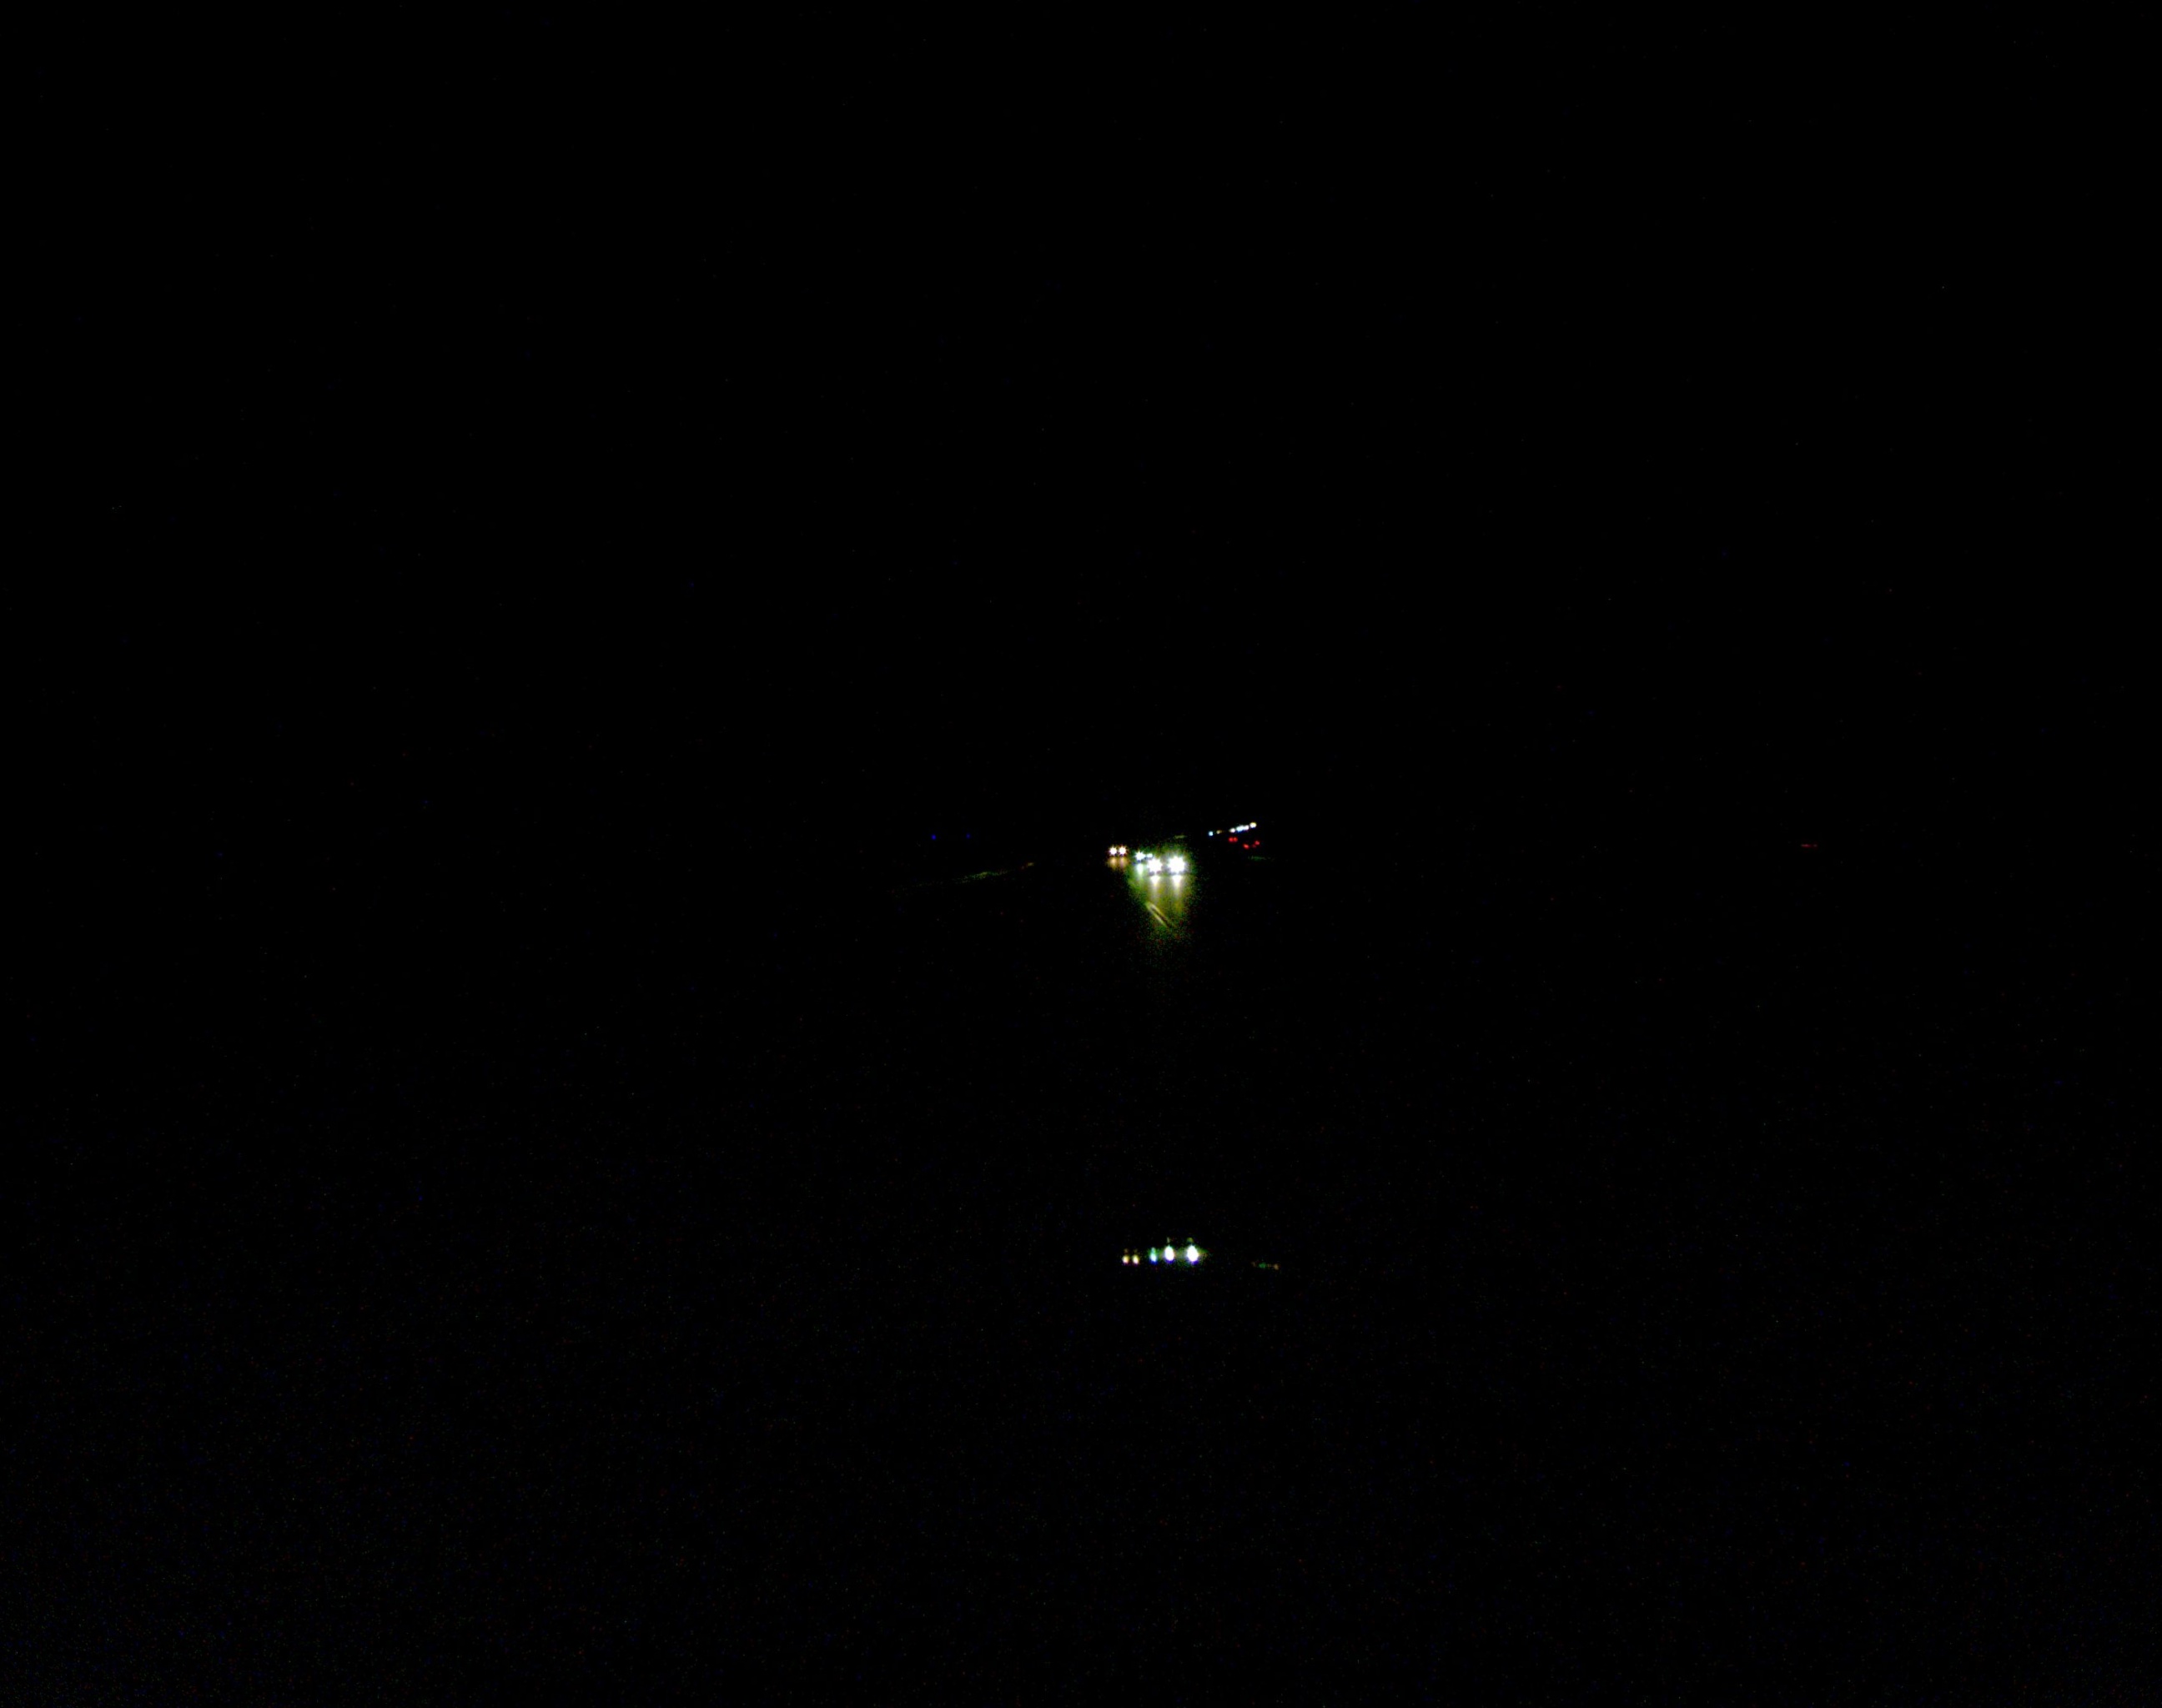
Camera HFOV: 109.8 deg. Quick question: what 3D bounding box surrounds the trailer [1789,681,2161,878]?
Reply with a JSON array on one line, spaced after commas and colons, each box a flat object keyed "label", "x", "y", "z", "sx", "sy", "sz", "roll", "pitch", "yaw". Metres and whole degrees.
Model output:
[{"label": "trailer", "x": 24.171, "y": -1.607, "z": 16.970, "sx": 3.608, "sy": 4.066, "sz": 14.123, "roll": -2, "pitch": 0, "yaw": 1}]

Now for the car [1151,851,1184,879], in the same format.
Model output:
[{"label": "car", "x": 5.210, "y": 0.613, "z": 45.576, "sx": 1.832, "sy": 1.404, "sz": 4.001, "roll": -3, "pitch": 2, "yaw": 8}]

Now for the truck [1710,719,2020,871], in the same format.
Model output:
[{"label": "truck", "x": 24.282, "y": -1.648, "z": 24.116, "sx": 3.599, "sy": 4.075, "sz": 5.994, "roll": -2, "pitch": 0, "yaw": 1}]

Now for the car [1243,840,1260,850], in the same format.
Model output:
[{"label": "car", "x": 27.046, "y": -1.455, "z": 120.770, "sx": 1.998, "sy": 1.499, "sz": 4.001, "roll": -2, "pitch": 1, "yaw": 4}]

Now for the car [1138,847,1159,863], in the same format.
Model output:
[{"label": "car", "x": 7.327, "y": 0.088, "z": 82.942, "sx": 1.998, "sy": 1.456, "sz": 4.000, "roll": -3, "pitch": 1, "yaw": 3}]

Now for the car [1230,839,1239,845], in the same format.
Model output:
[{"label": "car", "x": 46.483, "y": -3.659, "z": 229.906, "sx": 1.998, "sy": 1.499, "sz": 4.316, "roll": -2, "pitch": 1, "yaw": 4}]

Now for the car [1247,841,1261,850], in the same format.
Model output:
[{"label": "car", "x": 32.895, "y": -1.594, "z": 144.396, "sx": 1.998, "sy": 1.499, "sz": 4.001, "roll": -2, "pitch": 1, "yaw": 4}]

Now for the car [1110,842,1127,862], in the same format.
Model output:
[{"label": "car", "x": 6.083, "y": -0.395, "z": 124.159, "sx": 2.534, "sy": 2.889, "sz": 6.226, "roll": -3, "pitch": 2, "yaw": 2}]
